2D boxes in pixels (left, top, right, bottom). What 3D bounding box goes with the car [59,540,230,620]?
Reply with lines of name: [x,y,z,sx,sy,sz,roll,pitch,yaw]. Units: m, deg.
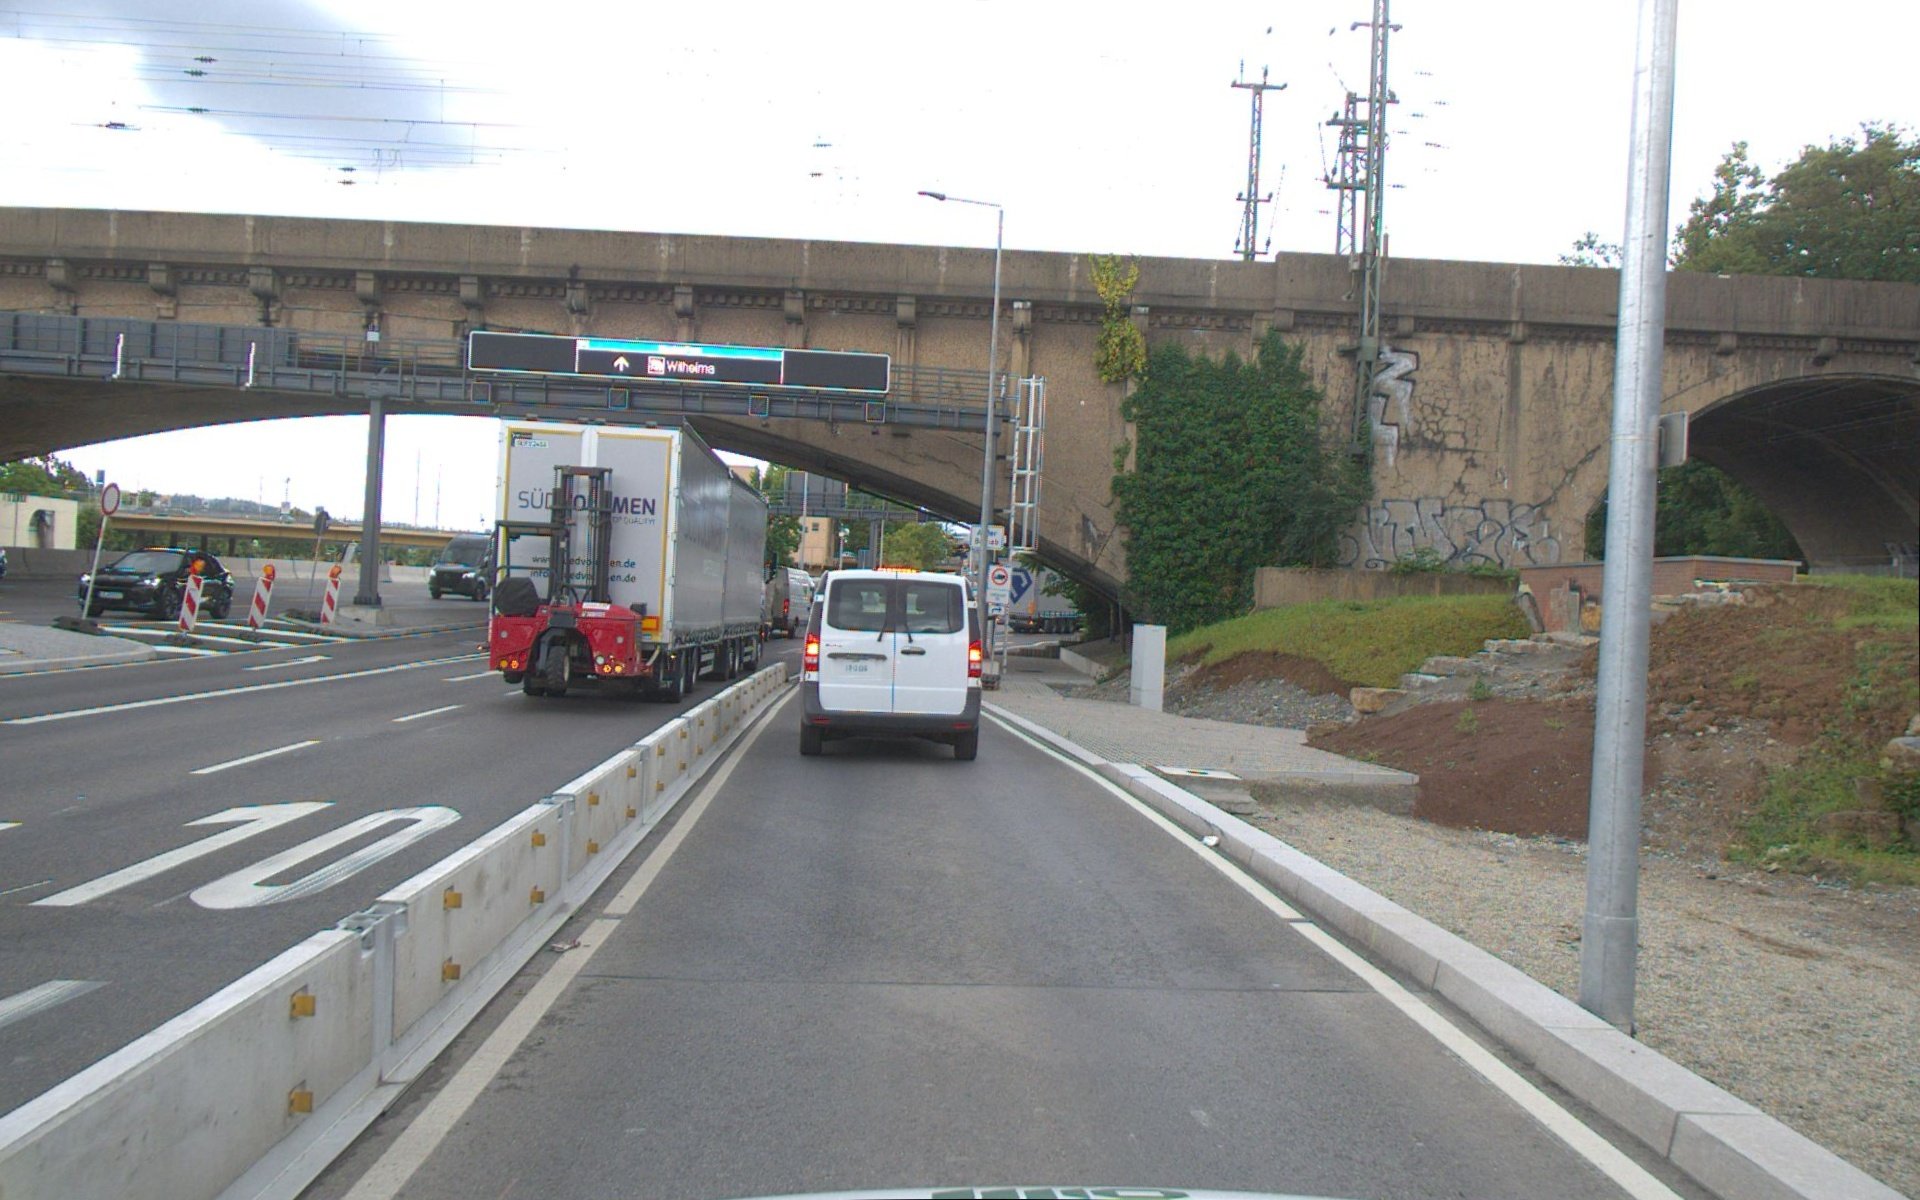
car: [-17.867,-0.428,36.484,1.671,1.649,4.450,0,0,-2]

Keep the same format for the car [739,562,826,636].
car: [-6.827,-0.029,64.197,1.952,2.585,5.178,5,1,8]

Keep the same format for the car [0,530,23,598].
car: [-25.158,-0.899,40.568,1.847,1.713,4.487,1,1,-1]

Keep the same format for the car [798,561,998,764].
car: [-0.823,0.620,18.446,1.840,1.924,4.746,2,0,-6]

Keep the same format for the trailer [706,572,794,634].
trailer: [-7.529,0.099,59.643,1.952,1.991,4.082,5,1,8]

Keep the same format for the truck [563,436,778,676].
truck: [-5.970,-0.828,36.255,2.928,4.248,11.235,4,0,-2]

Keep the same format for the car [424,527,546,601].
car: [-19.545,-1.444,68.352,2.168,2.825,6.150,2,1,11]

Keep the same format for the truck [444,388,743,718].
truck: [-5.405,-0.624,26.519,2.860,4.086,10.193,4,0,-3]

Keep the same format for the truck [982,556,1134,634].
truck: [5.988,-0.118,96.003,3.251,3.875,16.587,5,1,23]
